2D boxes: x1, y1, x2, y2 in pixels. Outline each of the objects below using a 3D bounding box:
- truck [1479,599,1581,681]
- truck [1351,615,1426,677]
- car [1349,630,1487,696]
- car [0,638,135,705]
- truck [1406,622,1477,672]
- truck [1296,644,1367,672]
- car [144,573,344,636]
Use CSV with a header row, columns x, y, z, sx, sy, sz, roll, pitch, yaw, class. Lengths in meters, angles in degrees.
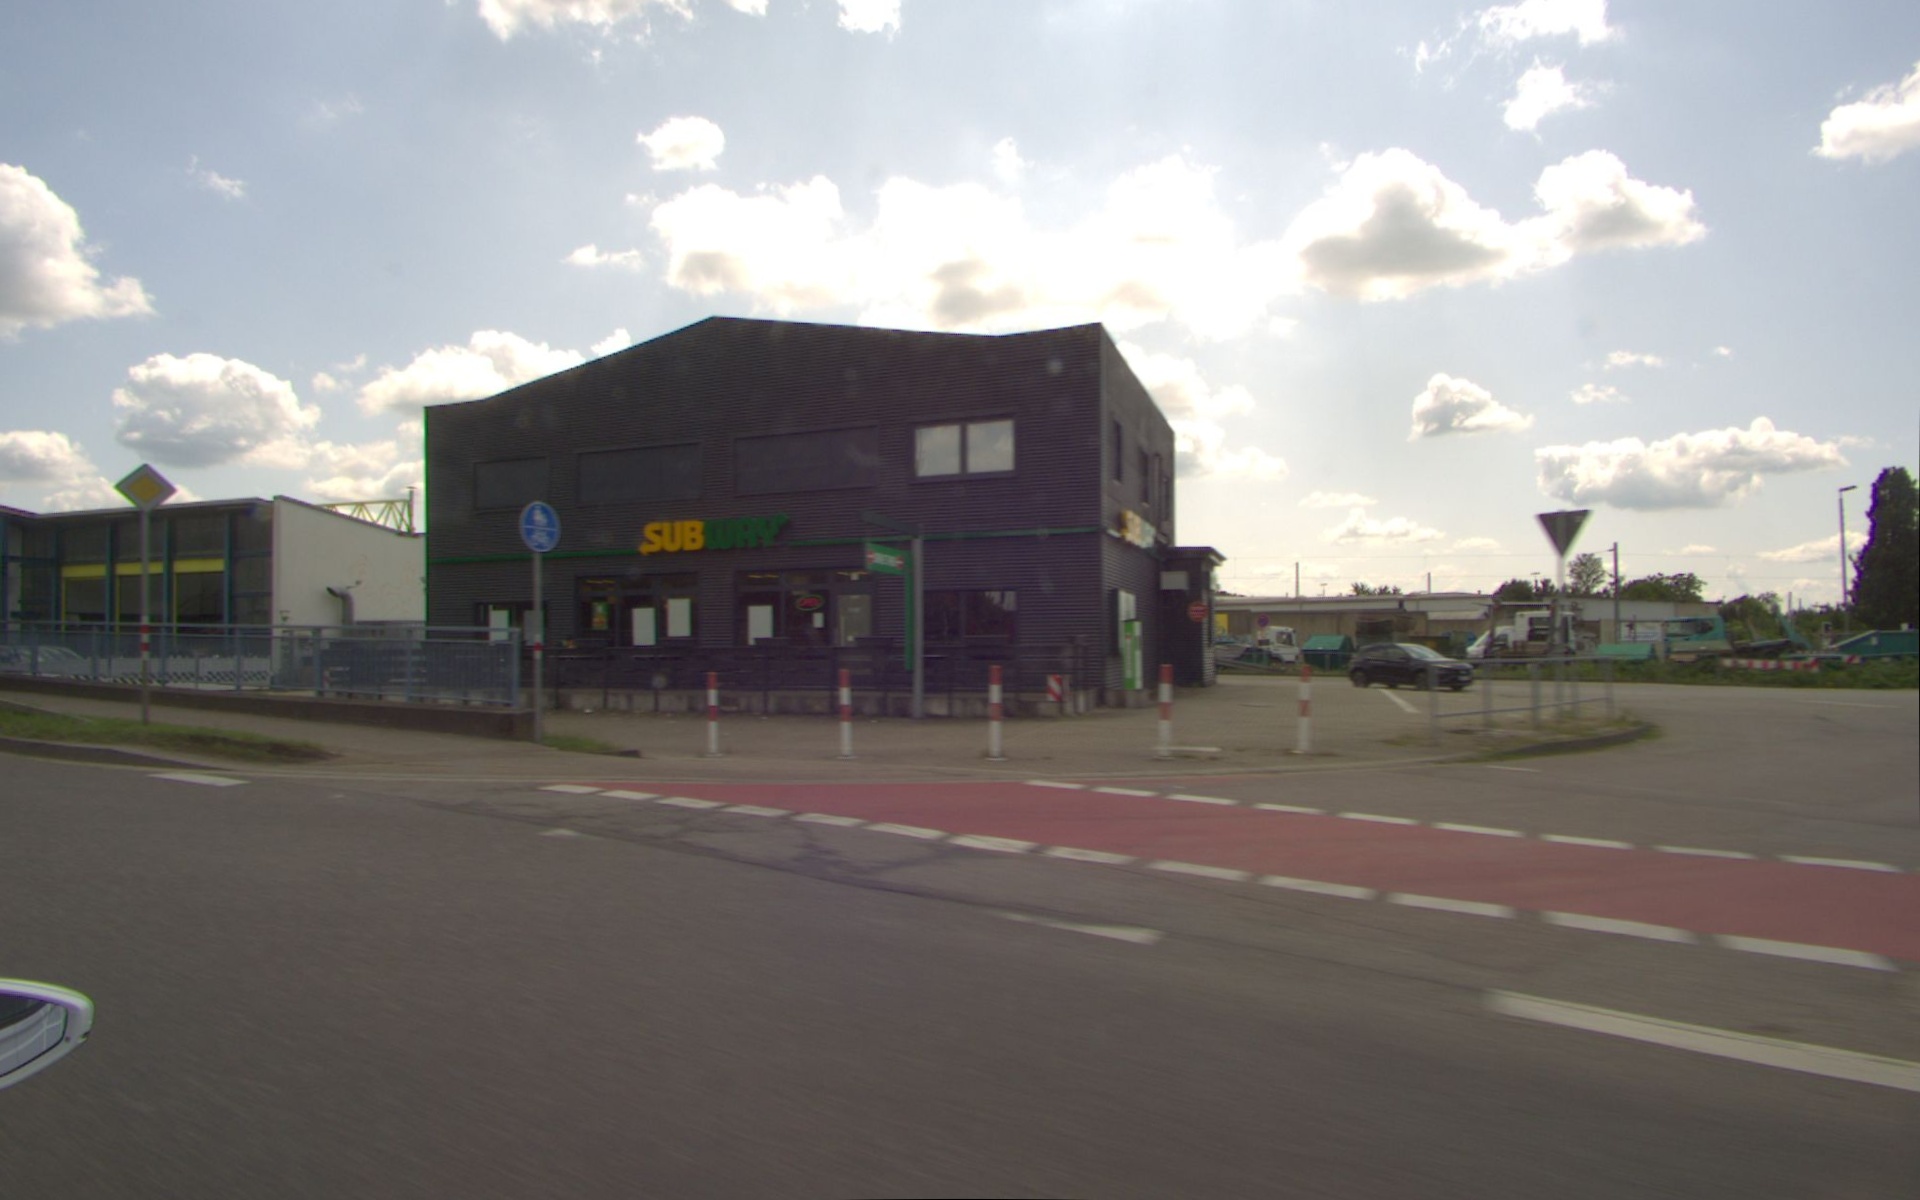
x,y,z,sx,sy,sz,roll,pitch,yaw,class
24.860,1.848,43.542,2.681,3.295,5.889,-2,-5,41,truck
19.808,2.172,46.247,2.093,2.747,4.309,-2,-4,39,truck
15.101,2.021,33.200,1.732,2.039,3.857,1,-2,-34,car
-22.165,1.638,23.739,4.667,1.377,1.996,0,-1,21,car
21.376,2.138,44.346,1.955,2.109,4.311,-2,-4,38,truck
17.542,2.760,47.149,1.858,1.235,4.309,-2,-5,39,truck
-25.955,0.259,36.636,2.192,2.039,5.816,-1,-2,17,car
